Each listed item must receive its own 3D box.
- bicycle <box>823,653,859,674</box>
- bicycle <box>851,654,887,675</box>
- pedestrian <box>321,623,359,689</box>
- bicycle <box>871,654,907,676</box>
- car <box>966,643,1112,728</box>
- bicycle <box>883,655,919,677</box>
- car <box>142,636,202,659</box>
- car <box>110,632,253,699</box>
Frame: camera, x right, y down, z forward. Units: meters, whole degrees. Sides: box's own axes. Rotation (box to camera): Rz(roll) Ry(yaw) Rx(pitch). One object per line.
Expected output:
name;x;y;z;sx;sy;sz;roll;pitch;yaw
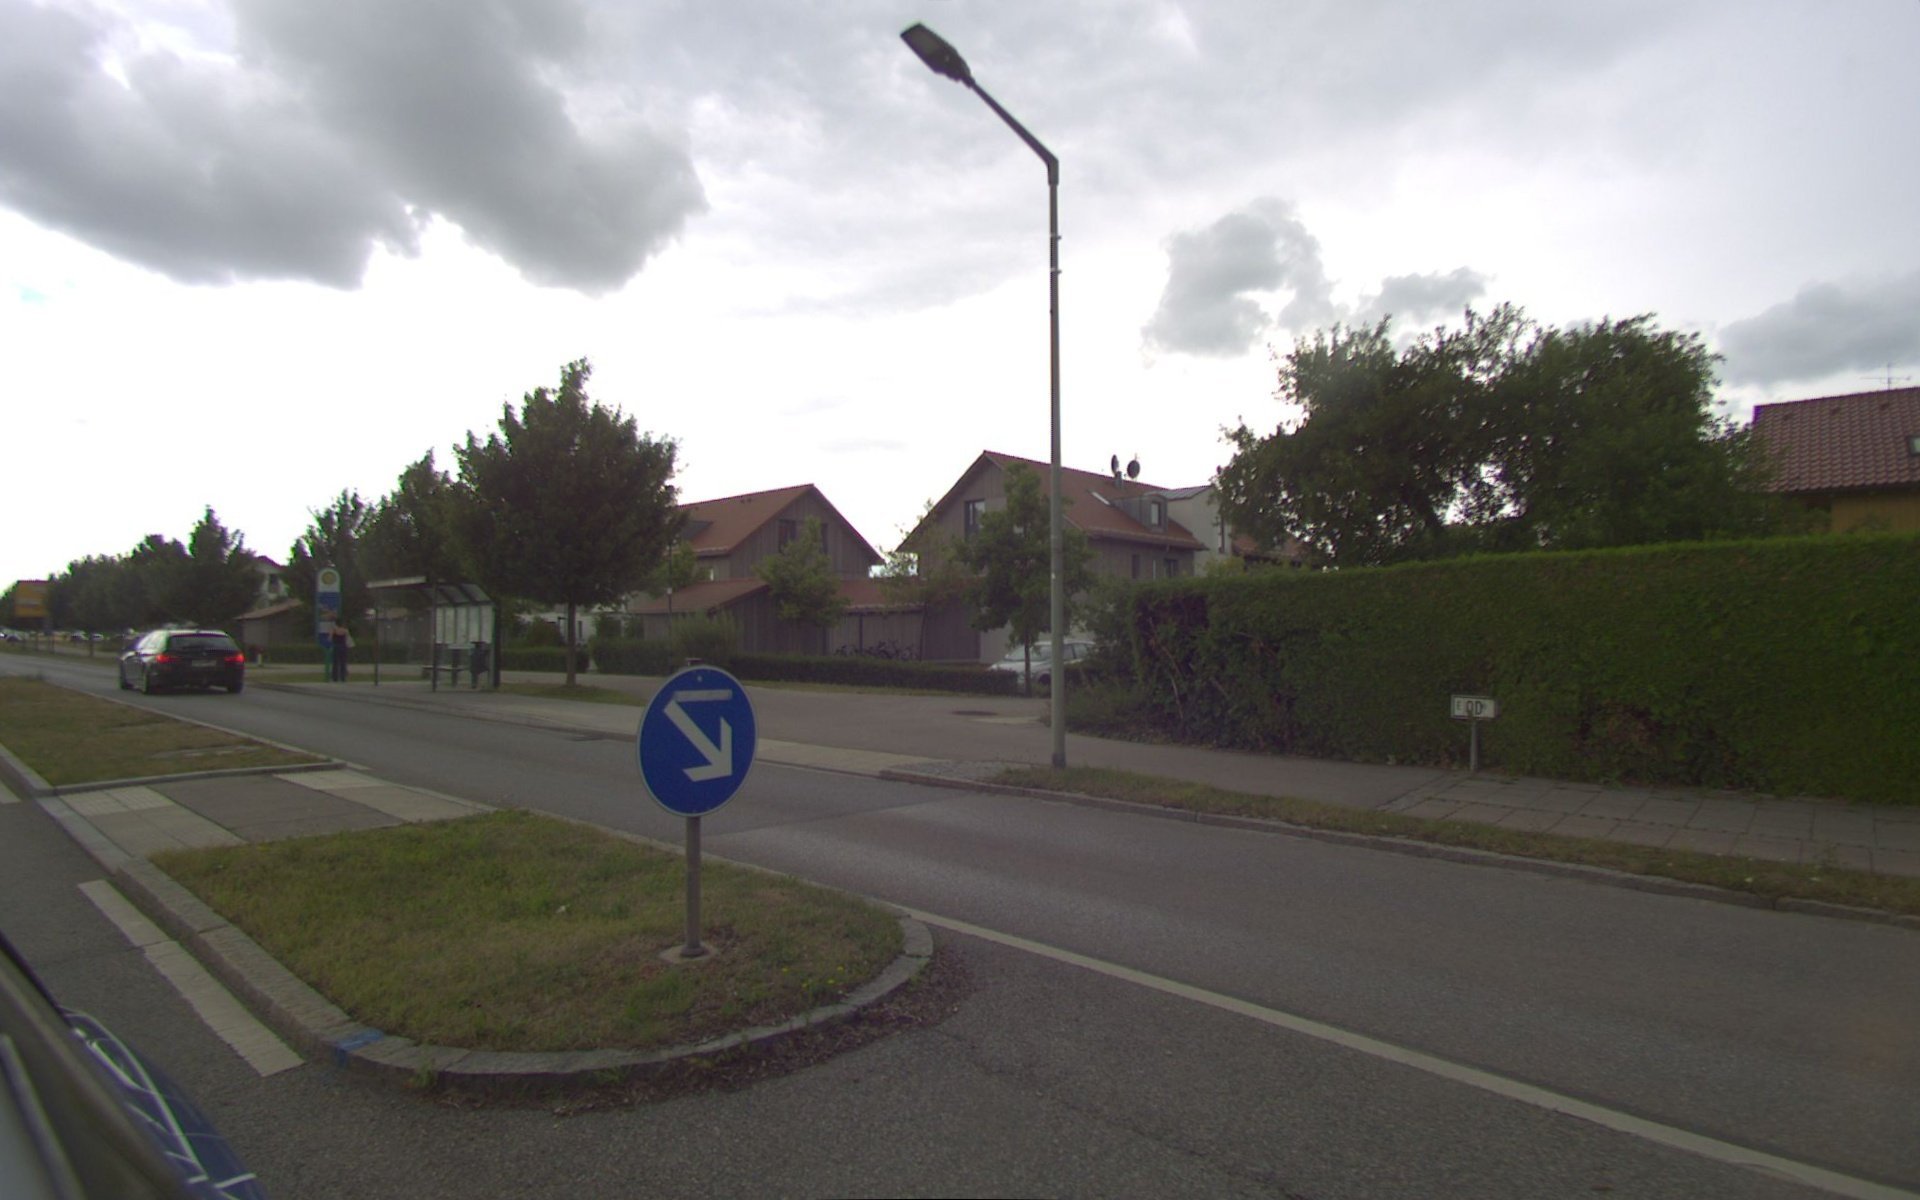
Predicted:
bicycle;-5.562;2.967;47.430;0.419;0.916;1.922;-2;-3;39
bicycle;-4.165;2.941;46.292;0.419;0.916;1.922;-2;-3;39
pedestrian;-15.737;1.411;25.686;0.812;1.649;0.582;-2;-3;41
bicycle;-3.190;2.912;45.447;0.419;0.916;1.922;-2;-3;39
car;2.160;2.179;26.845;1.998;2.029;3.948;-2;-3;39
bicycle;-2.609;2.901;44.914;0.419;0.916;1.922;-2;-3;39
car;-78.178;4.663;100.401;4.506;2.029;2.001;-1;-1;-45
car;-18.651;1.509;24.167;4.495;1.465;1.900;-2;-3;42
